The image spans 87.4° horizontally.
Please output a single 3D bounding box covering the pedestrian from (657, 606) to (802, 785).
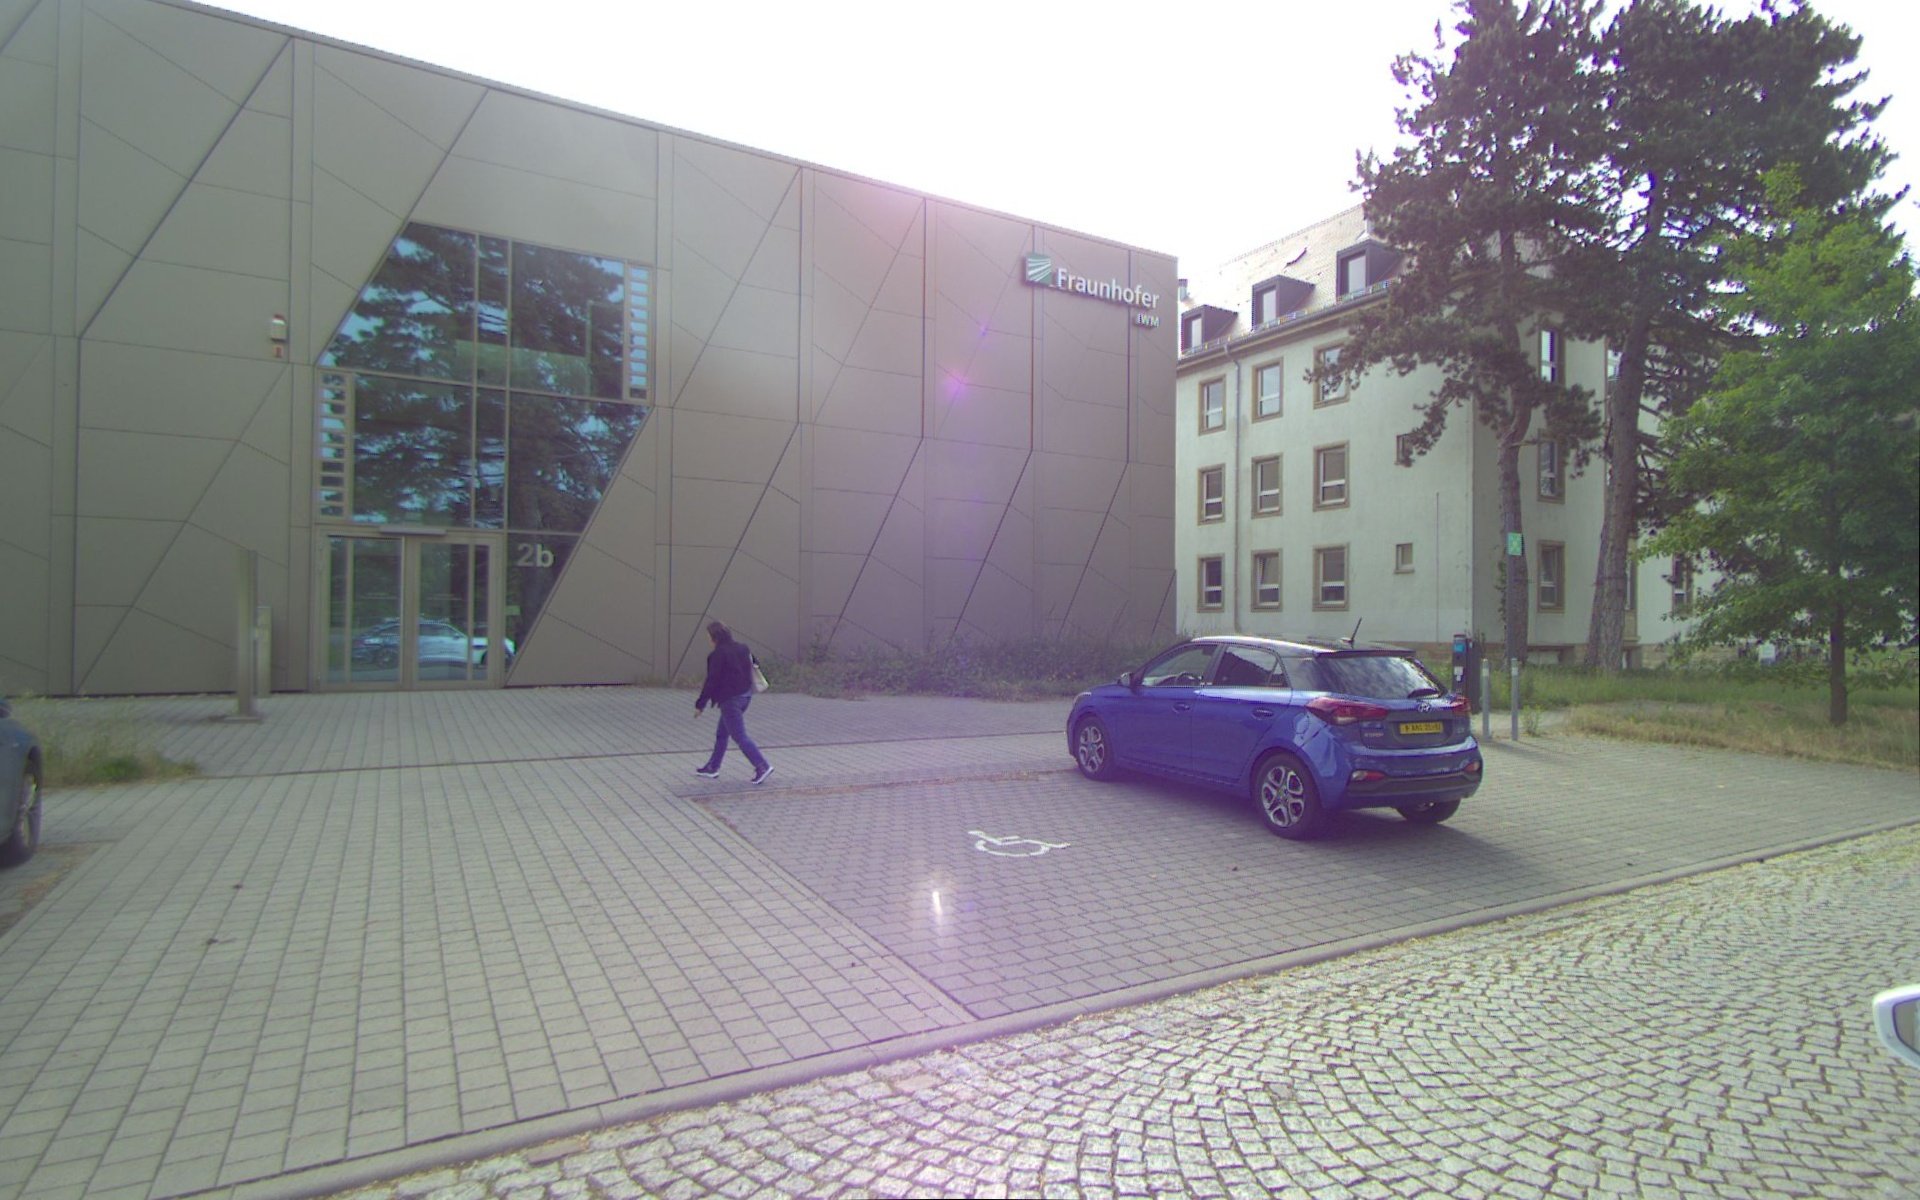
[{"bbox_3d":[-2.087,0.832,9.166,0.967,1.514,0.819,1,-1,18],"label":"pedestrian"}]

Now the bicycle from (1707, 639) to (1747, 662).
[{"bbox_3d":[37.014,2.419,48.490,2.246,1.090,0.732,1,-2,-30],"label":"bicycle"}]

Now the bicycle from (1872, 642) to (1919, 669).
[{"bbox_3d":[39.357,2.309,41.843,0.821,1.090,1.849,1,-2,-27],"label":"bicycle"}]

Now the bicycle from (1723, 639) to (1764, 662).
[{"bbox_3d":[37.306,2.407,47.815,2.246,1.090,0.732,1,-2,-30],"label":"bicycle"}]

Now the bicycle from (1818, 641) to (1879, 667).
[{"bbox_3d":[38.415,2.332,43.471,0.729,1.090,1.849,1,-2,-27],"label":"bicycle"}]

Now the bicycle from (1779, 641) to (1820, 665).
[{"bbox_3d":[38.386,2.412,45.916,2.246,1.090,0.732,1,-2,-30],"label":"bicycle"}]

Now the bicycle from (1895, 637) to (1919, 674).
[{"bbox_3d":[37.730,2.167,38.927,2.156,1.405,0.933,-1,-2,44],"label":"bicycle"}]

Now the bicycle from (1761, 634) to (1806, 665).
[{"bbox_3d":[38.331,2.284,46.746,2.679,1.404,0.732,1,-2,-30],"label":"bicycle"}]

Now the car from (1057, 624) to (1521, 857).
[{"bbox_3d":[2.650,1.019,8.965,1.828,1.497,3.752,1,0,-27],"label":"car"}]

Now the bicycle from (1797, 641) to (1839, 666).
[{"bbox_3d":[38.763,2.396,45.396,2.246,1.090,0.732,1,-2,-30],"label":"bicycle"}]

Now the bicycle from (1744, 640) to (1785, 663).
[{"bbox_3d":[38.037,2.433,47.498,2.246,1.090,0.732,1,-2,-30],"label":"bicycle"}]

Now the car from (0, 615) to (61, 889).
[{"bbox_3d":[-5.478,0.823,4.274,1.755,1.447,4.280,1,0,-32],"label":"car"}]
